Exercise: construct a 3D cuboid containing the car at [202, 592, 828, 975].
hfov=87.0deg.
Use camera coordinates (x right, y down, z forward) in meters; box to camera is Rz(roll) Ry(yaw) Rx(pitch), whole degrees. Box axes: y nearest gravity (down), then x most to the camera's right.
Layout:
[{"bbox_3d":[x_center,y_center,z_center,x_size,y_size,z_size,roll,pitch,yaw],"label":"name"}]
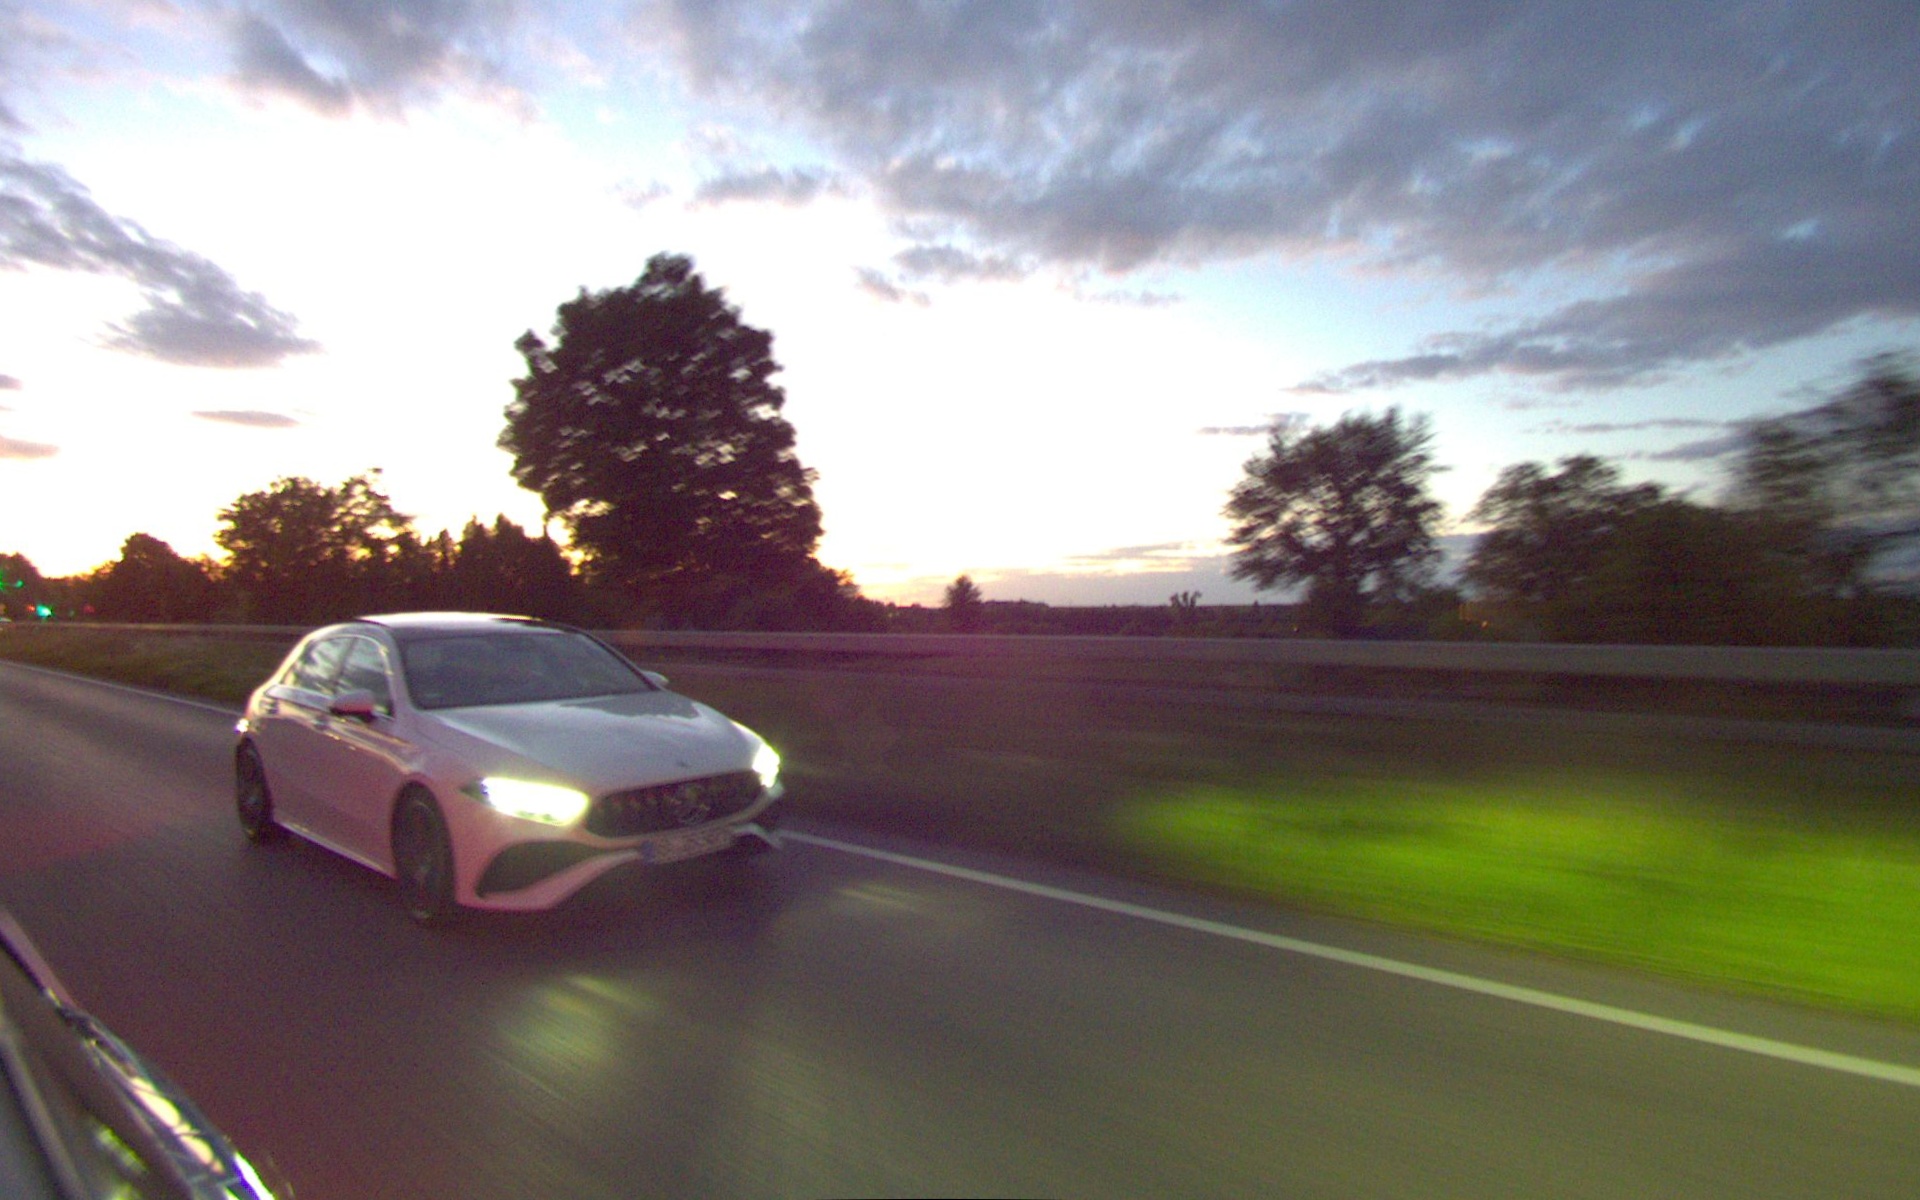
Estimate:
[{"bbox_3d":[-2.947,0.740,6.095,4.576,1.501,1.625,-1,0,40],"label":"car"}]
